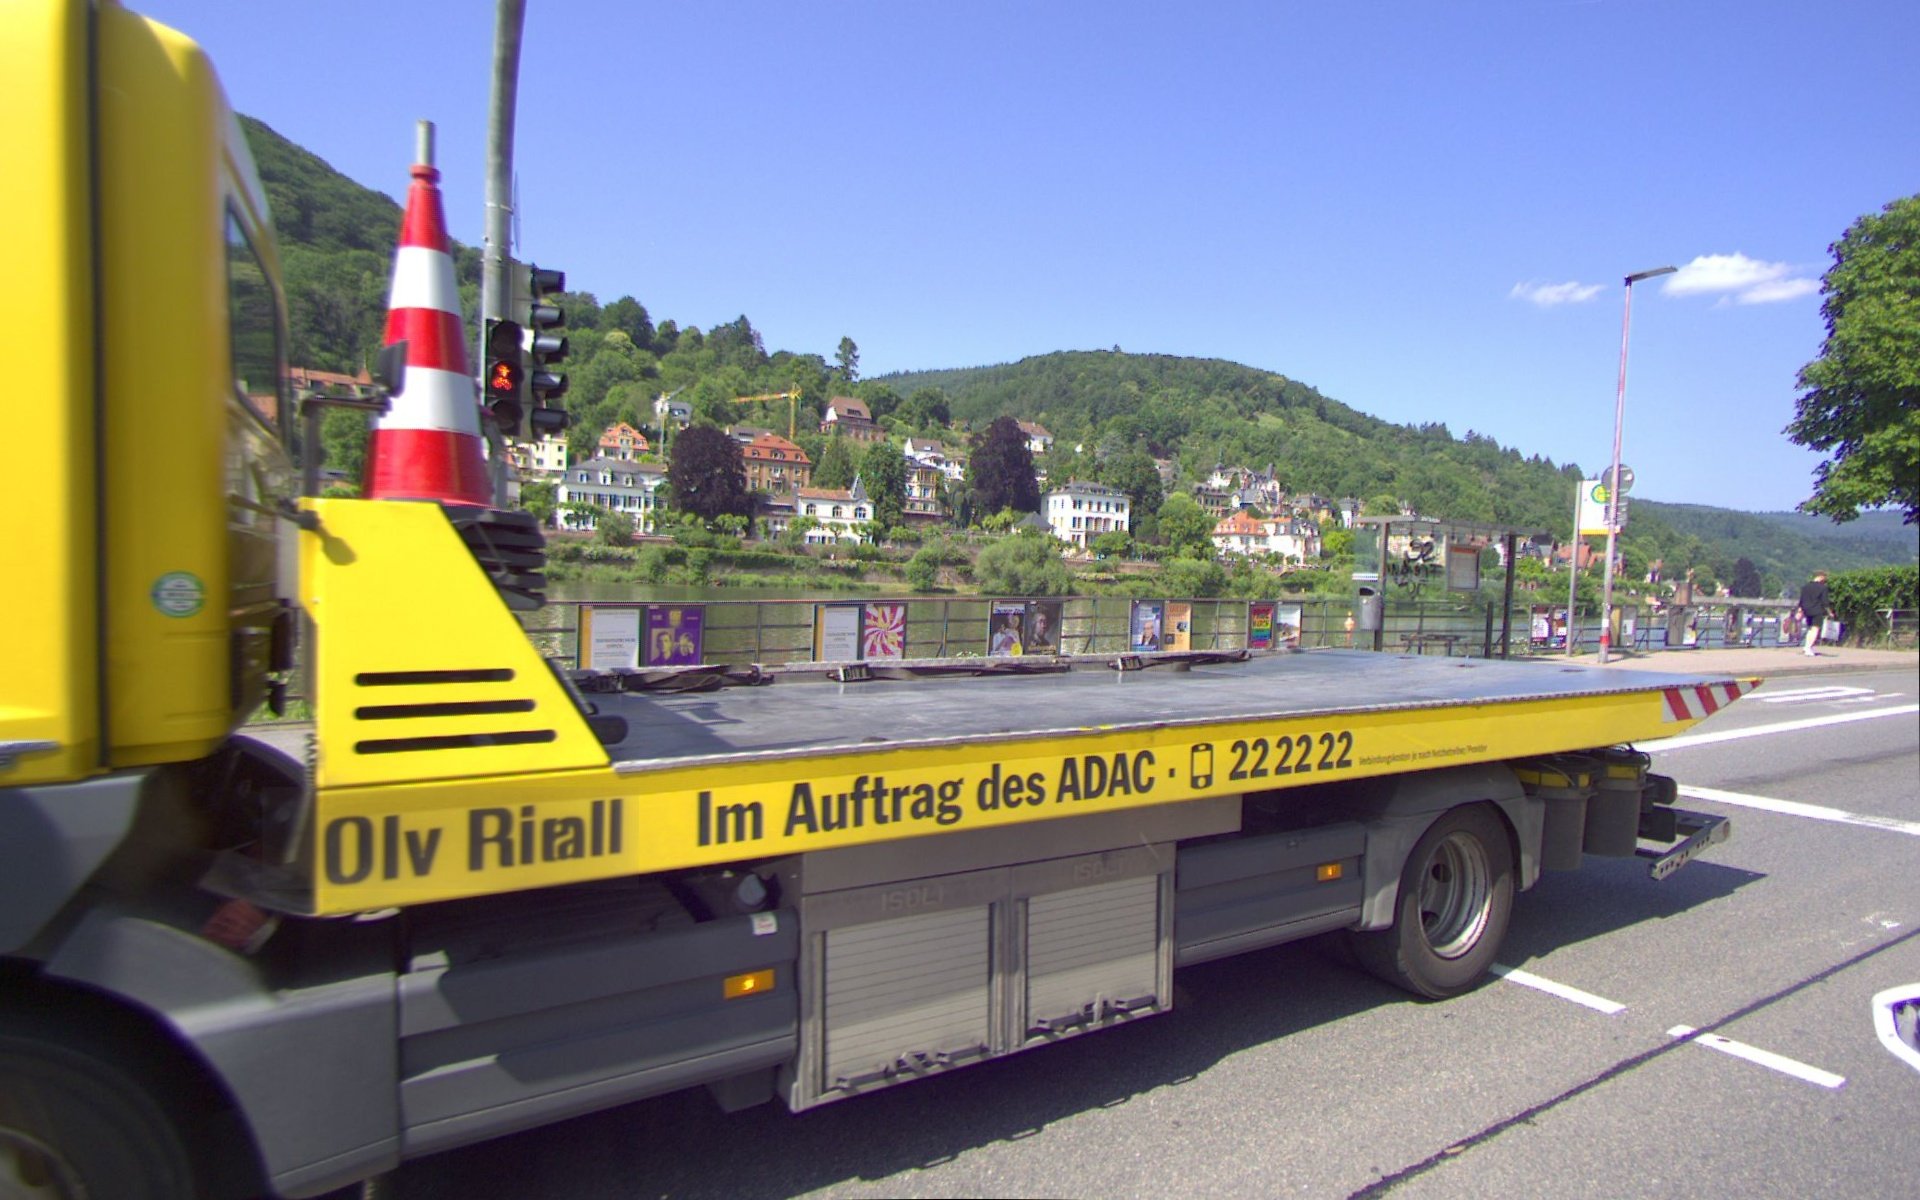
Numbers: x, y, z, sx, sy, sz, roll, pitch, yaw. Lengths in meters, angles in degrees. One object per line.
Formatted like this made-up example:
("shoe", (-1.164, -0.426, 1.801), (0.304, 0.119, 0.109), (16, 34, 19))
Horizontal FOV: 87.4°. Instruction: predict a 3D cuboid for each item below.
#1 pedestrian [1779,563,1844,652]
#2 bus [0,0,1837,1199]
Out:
("pedestrian", (19.215, 0.168, 22.656), (0.997, 1.943, 0.750), (2, 1, -29))
("bus", (-0.023, -0.107, 3.837), (8.349, 2.935, 2.584), (0, 1, -31))
